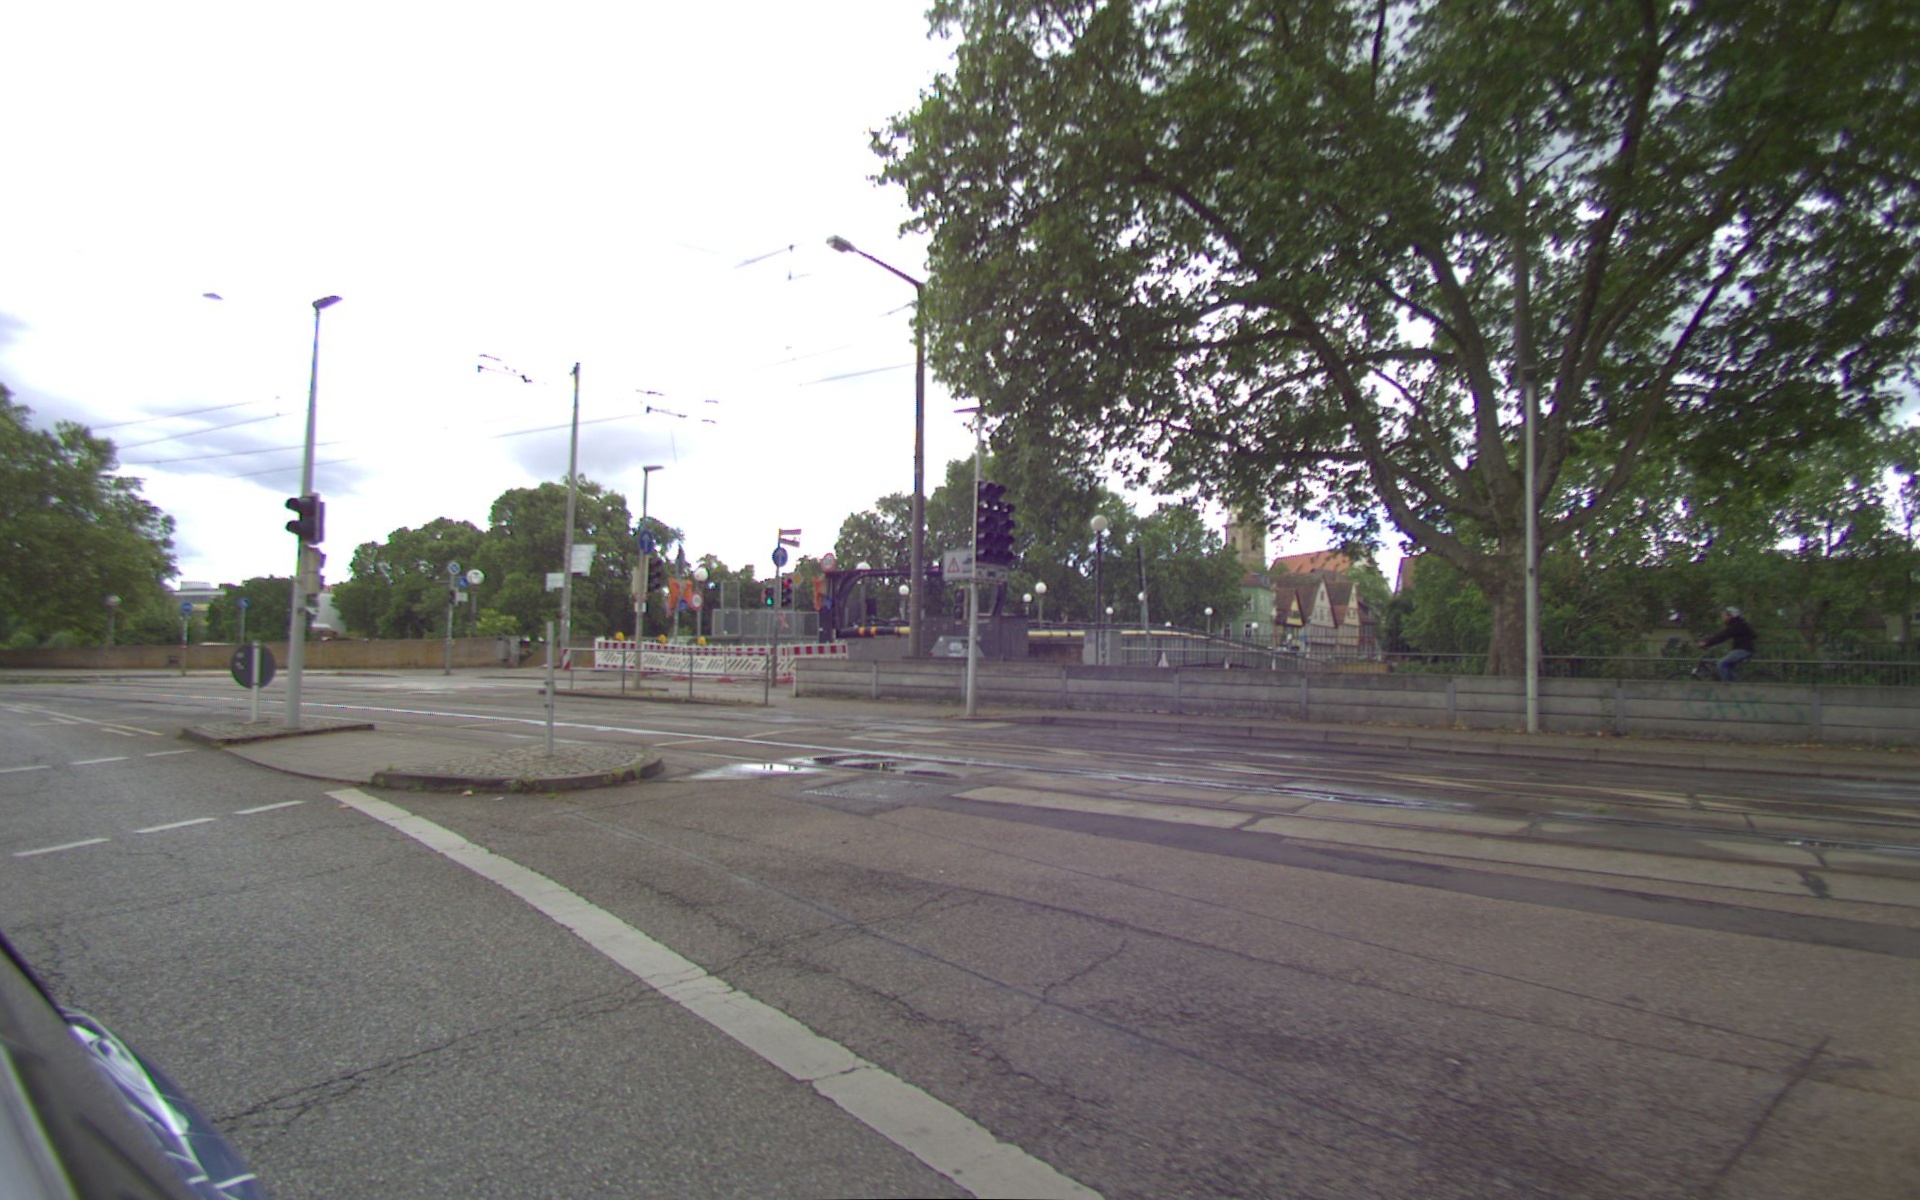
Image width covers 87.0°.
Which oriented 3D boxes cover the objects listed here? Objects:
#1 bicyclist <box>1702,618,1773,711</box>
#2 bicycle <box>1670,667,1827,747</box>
[{"bbox_3d":[14.535,1.174,18.934,1.006,1.663,0.635,0,0,34],"label":"bicyclist"},{"bbox_3d":[14.652,1.957,18.897,2.259,1.287,0.683,0,0,35],"label":"bicycle"}]
